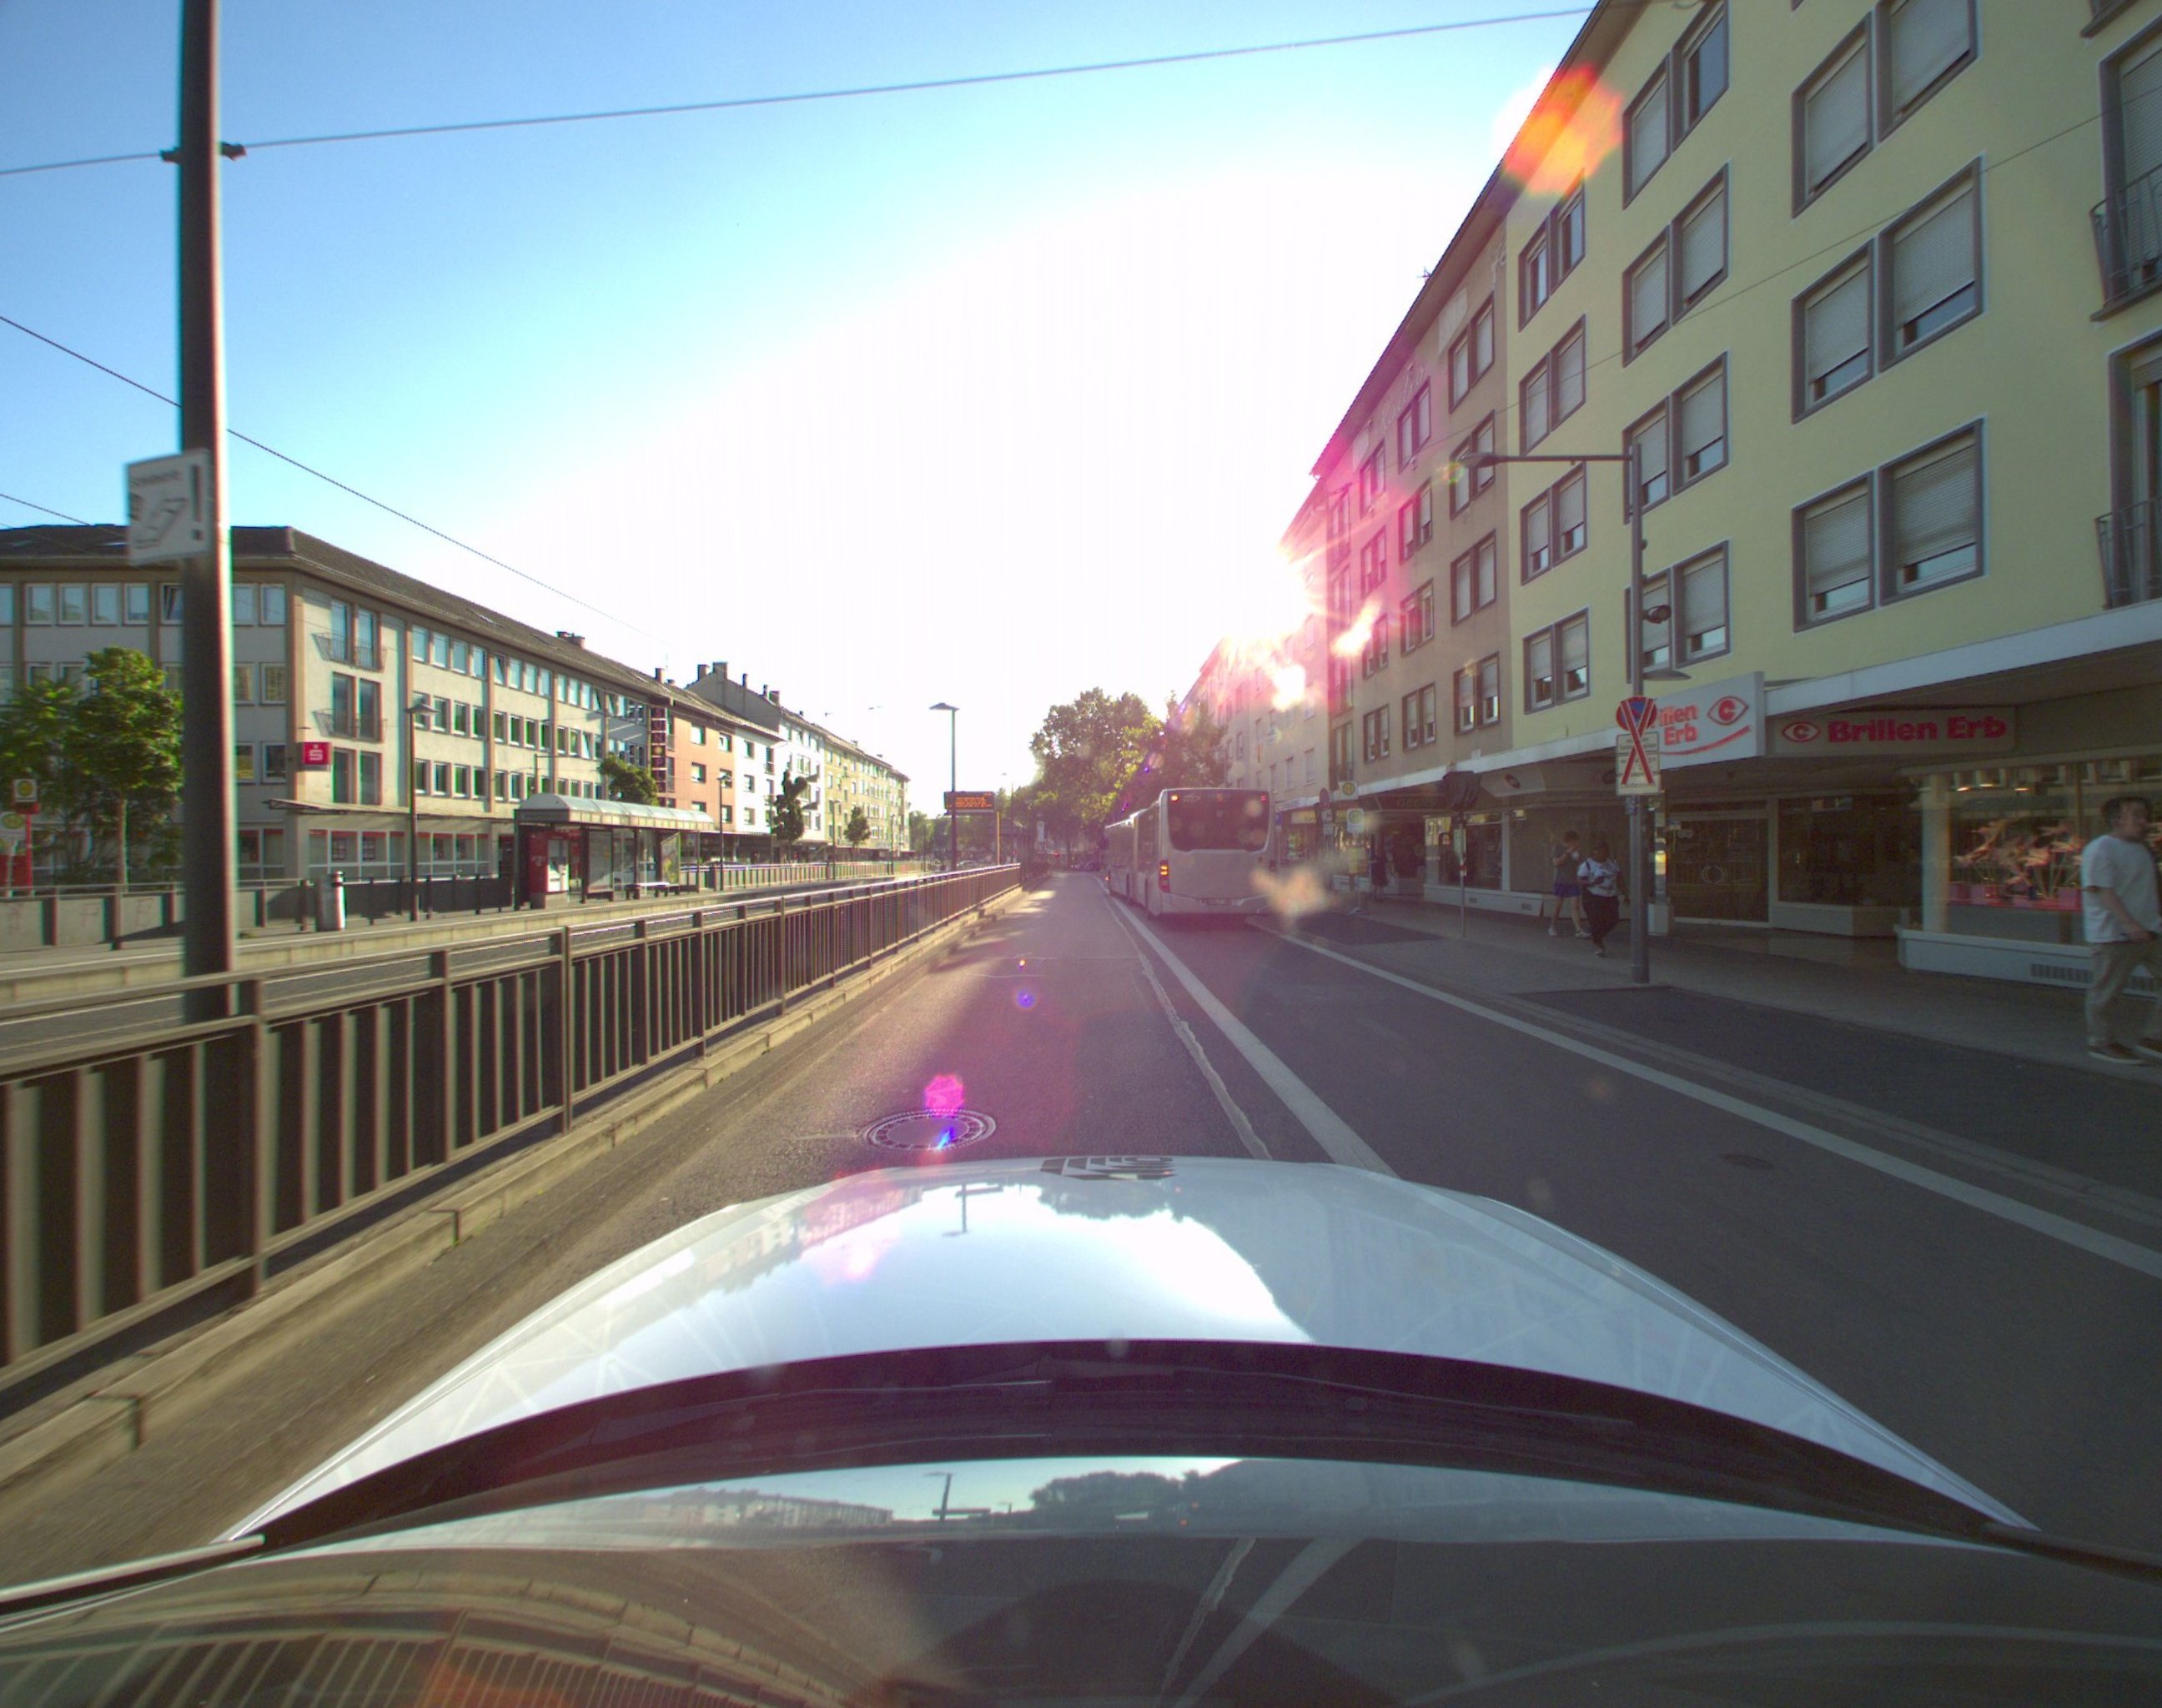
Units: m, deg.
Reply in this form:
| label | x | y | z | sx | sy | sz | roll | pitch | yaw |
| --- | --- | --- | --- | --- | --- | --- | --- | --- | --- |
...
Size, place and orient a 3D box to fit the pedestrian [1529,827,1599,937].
| label | x | y | z | sx | sy | sz | roll | pitch | yaw |
| --- | --- | --- | --- | --- | --- | --- | --- | --- | --- |
| pedestrian | 8.334 | 0.470 | 14.070 | 0.721 | 1.840 | 0.766 | -1 | -1 | -1 |

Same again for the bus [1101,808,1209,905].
| label | x | y | z | sx | sy | sz | roll | pitch | yaw |
| --- | --- | --- | --- | --- | --- | --- | --- | --- | --- |
| bus | 2.501 | 0.082 | 30.707 | 2.691 | 3.118 | 9.058 | 0 | 0 | -4 |

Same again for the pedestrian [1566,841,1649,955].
| label | x | y | z | sx | sy | sz | roll | pitch | yaw |
| --- | --- | --- | --- | --- | --- | --- | --- | --- | --- |
| pedestrian | 7.540 | 0.611 | 11.697 | 0.608 | 1.578 | 0.851 | -1 | -1 | 0 |

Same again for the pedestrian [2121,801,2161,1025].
| label | x | y | z | sx | sy | sz | roll | pitch | yaw |
| --- | --- | --- | --- | --- | --- | --- | --- | --- | --- |
| pedestrian | 8.641 | 0.445 | 6.084 | 0.721 | 1.723 | 0.766 | -1 | -1 | -1 |

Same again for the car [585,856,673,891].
| label | x | y | z | sx | sy | sz | roll | pitch | yaw |
| --- | --- | --- | --- | --- | --- | --- | --- | --- | --- |
| car | -22.901 | 0.948 | 41.359 | 1.748 | 1.679 | 3.533 | -1 | 0 | 39 |

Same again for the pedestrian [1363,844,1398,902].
| label | x | y | z | sx | sy | sz | roll | pitch | yaw |
| --- | --- | --- | --- | --- | --- | --- | --- | --- | --- |
| pedestrian | 8.737 | 0.548 | 23.769 | 0.721 | 1.632 | 0.766 | -1 | -1 | -1 |

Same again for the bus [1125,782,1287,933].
| label | x | y | z | sx | sy | sz | roll | pitch | yaw |
| --- | --- | --- | --- | --- | --- | --- | --- | --- | --- |
| bus | 2.853 | 0.074 | 21.597 | 2.689 | 3.118 | 9.376 | 0 | 0 | -1 |

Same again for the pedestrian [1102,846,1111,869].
| label | x | y | z | sx | sy | sz | roll | pitch | yaw |
| --- | --- | --- | --- | --- | --- | --- | --- | --- | --- |
| pedestrian | 2.965 | 0.420 | 93.981 | 0.885 | 2.546 | 1.165 | -1 | -1 | 7 |

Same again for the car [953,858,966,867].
| label | x | y | z | sx | sy | sz | roll | pitch | yaw |
| --- | --- | --- | --- | --- | --- | --- | --- | --- | --- |
| car | -24.125 | 1.698 | 161.900 | 1.987 | 1.651 | 3.999 | -1 | 0 | 0 |

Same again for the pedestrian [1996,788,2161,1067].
| label | x | y | z | sx | sy | sz | roll | pitch | yaw |
| --- | --- | --- | --- | --- | --- | --- | --- | --- | --- |
| pedestrian | 7.093 | 0.465 | 5.591 | 0.721 | 1.779 | 0.766 | -1 | -1 | -1 |
